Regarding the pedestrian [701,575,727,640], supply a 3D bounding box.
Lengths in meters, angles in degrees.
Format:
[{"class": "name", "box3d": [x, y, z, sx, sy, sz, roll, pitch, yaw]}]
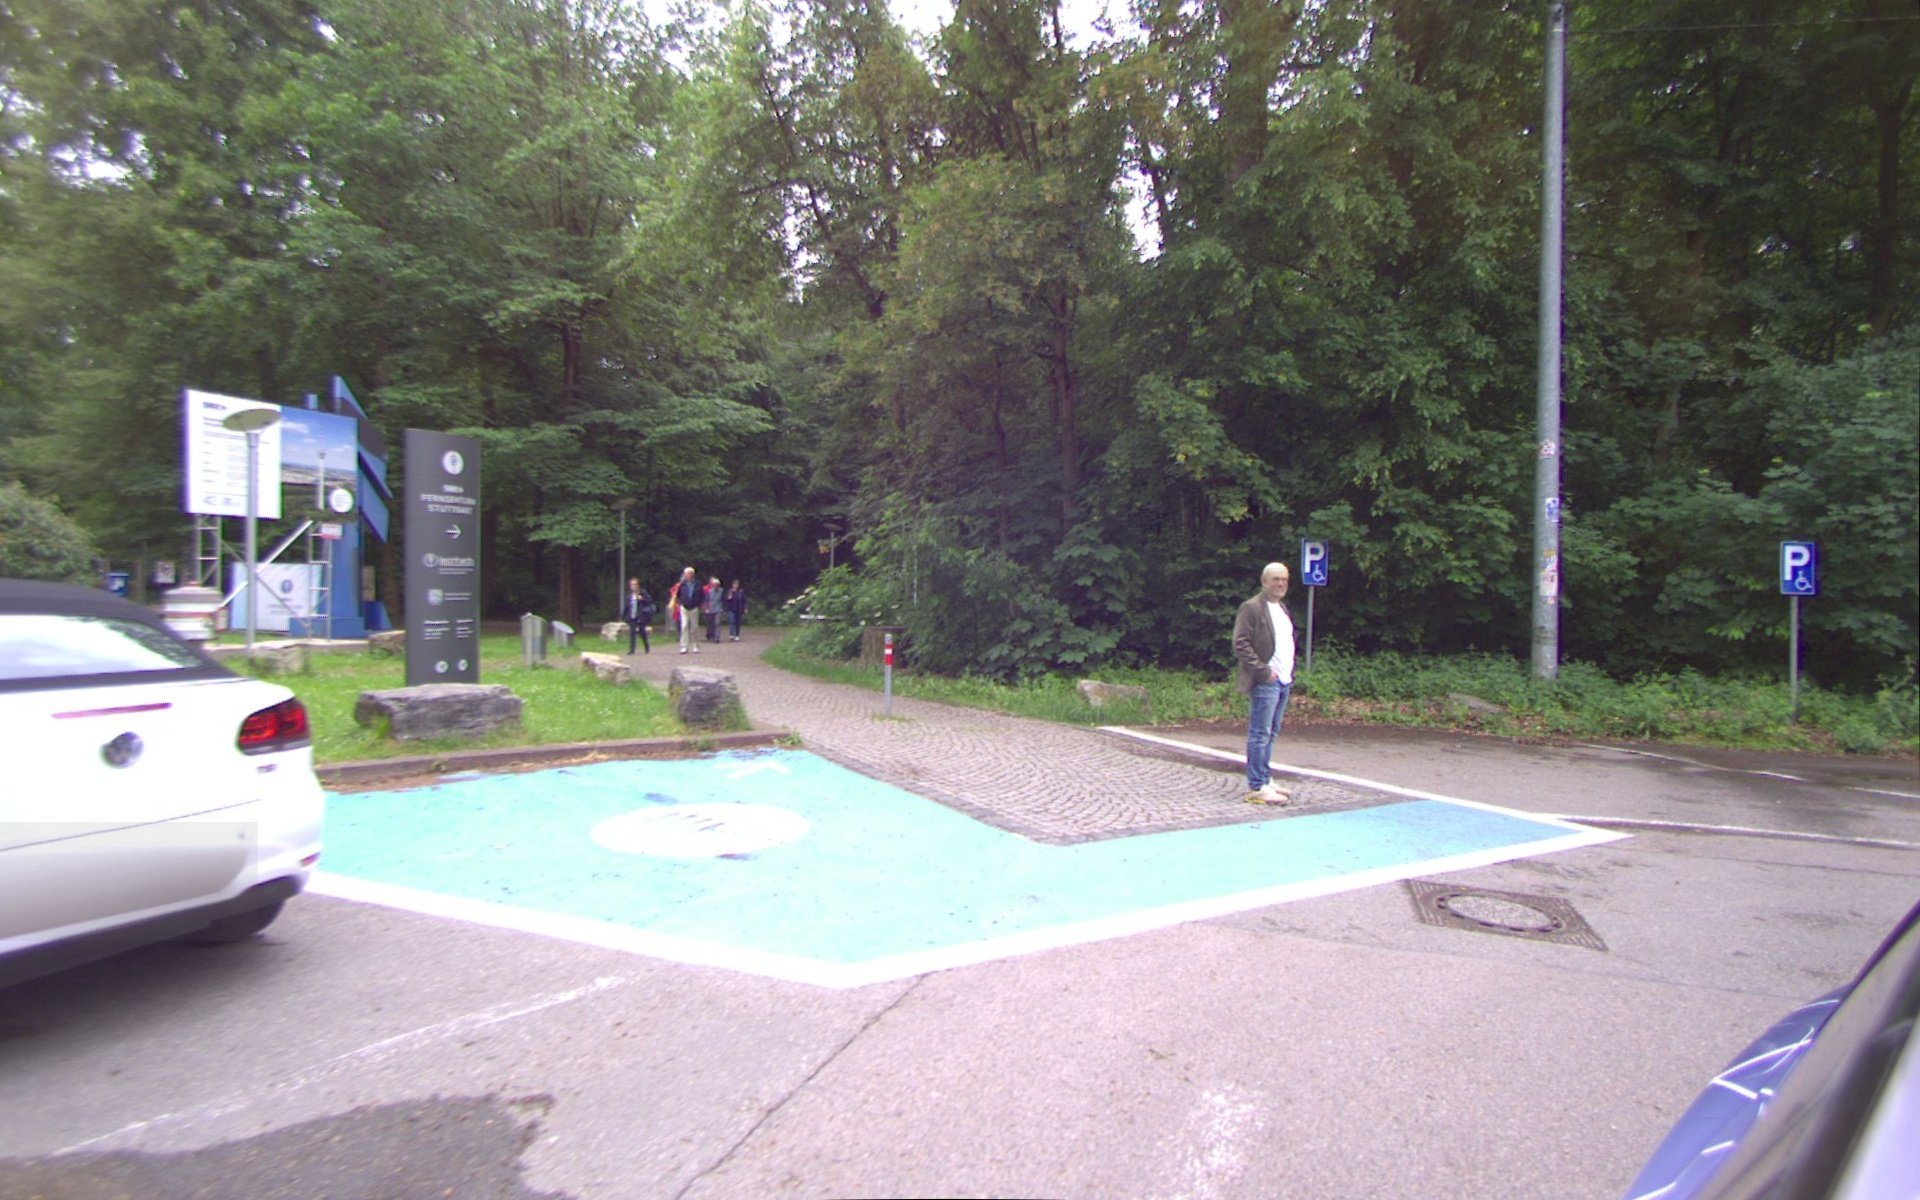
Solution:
[{"class": "pedestrian", "box3d": [-6.563, 0.199, 26.969, 0.596, 1.694, 0.606, 1, 0, -19]}]

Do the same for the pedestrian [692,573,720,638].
[{"class": "pedestrian", "box3d": [-7.004, 0.147, 27.935, 0.667, 1.790, 0.715, 1, 0, -19]}]

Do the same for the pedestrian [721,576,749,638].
[{"class": "pedestrian", "box3d": [-6.255, 0.180, 28.093, 0.667, 1.694, 0.664, 1, 0, -19]}]

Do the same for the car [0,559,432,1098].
[{"class": "car", "box3d": [-4.253, 0.577, 3.840, 3.953, 1.446, 1.885, 1, 0, 22]}]

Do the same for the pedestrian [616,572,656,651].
[{"class": "pedestrian", "box3d": [-6.907, 0.247, 21.587, 0.762, 1.654, 0.638, 1, 0, -14]}]

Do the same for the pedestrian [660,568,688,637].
[{"class": "pedestrian", "box3d": [-7.520, 0.075, 26.606, 0.669, 1.784, 0.606, 1, 0, -19]}]

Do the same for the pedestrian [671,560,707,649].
[{"class": "pedestrian", "box3d": [-5.998, 0.096, 22.423, 0.719, 1.940, 0.669, 1, 0, -14]}]

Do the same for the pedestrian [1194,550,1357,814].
[{"class": "pedestrian", "box3d": [2.266, 0.535, 7.265, 0.892, 1.747, 0.753, 1, 0, 39]}]
